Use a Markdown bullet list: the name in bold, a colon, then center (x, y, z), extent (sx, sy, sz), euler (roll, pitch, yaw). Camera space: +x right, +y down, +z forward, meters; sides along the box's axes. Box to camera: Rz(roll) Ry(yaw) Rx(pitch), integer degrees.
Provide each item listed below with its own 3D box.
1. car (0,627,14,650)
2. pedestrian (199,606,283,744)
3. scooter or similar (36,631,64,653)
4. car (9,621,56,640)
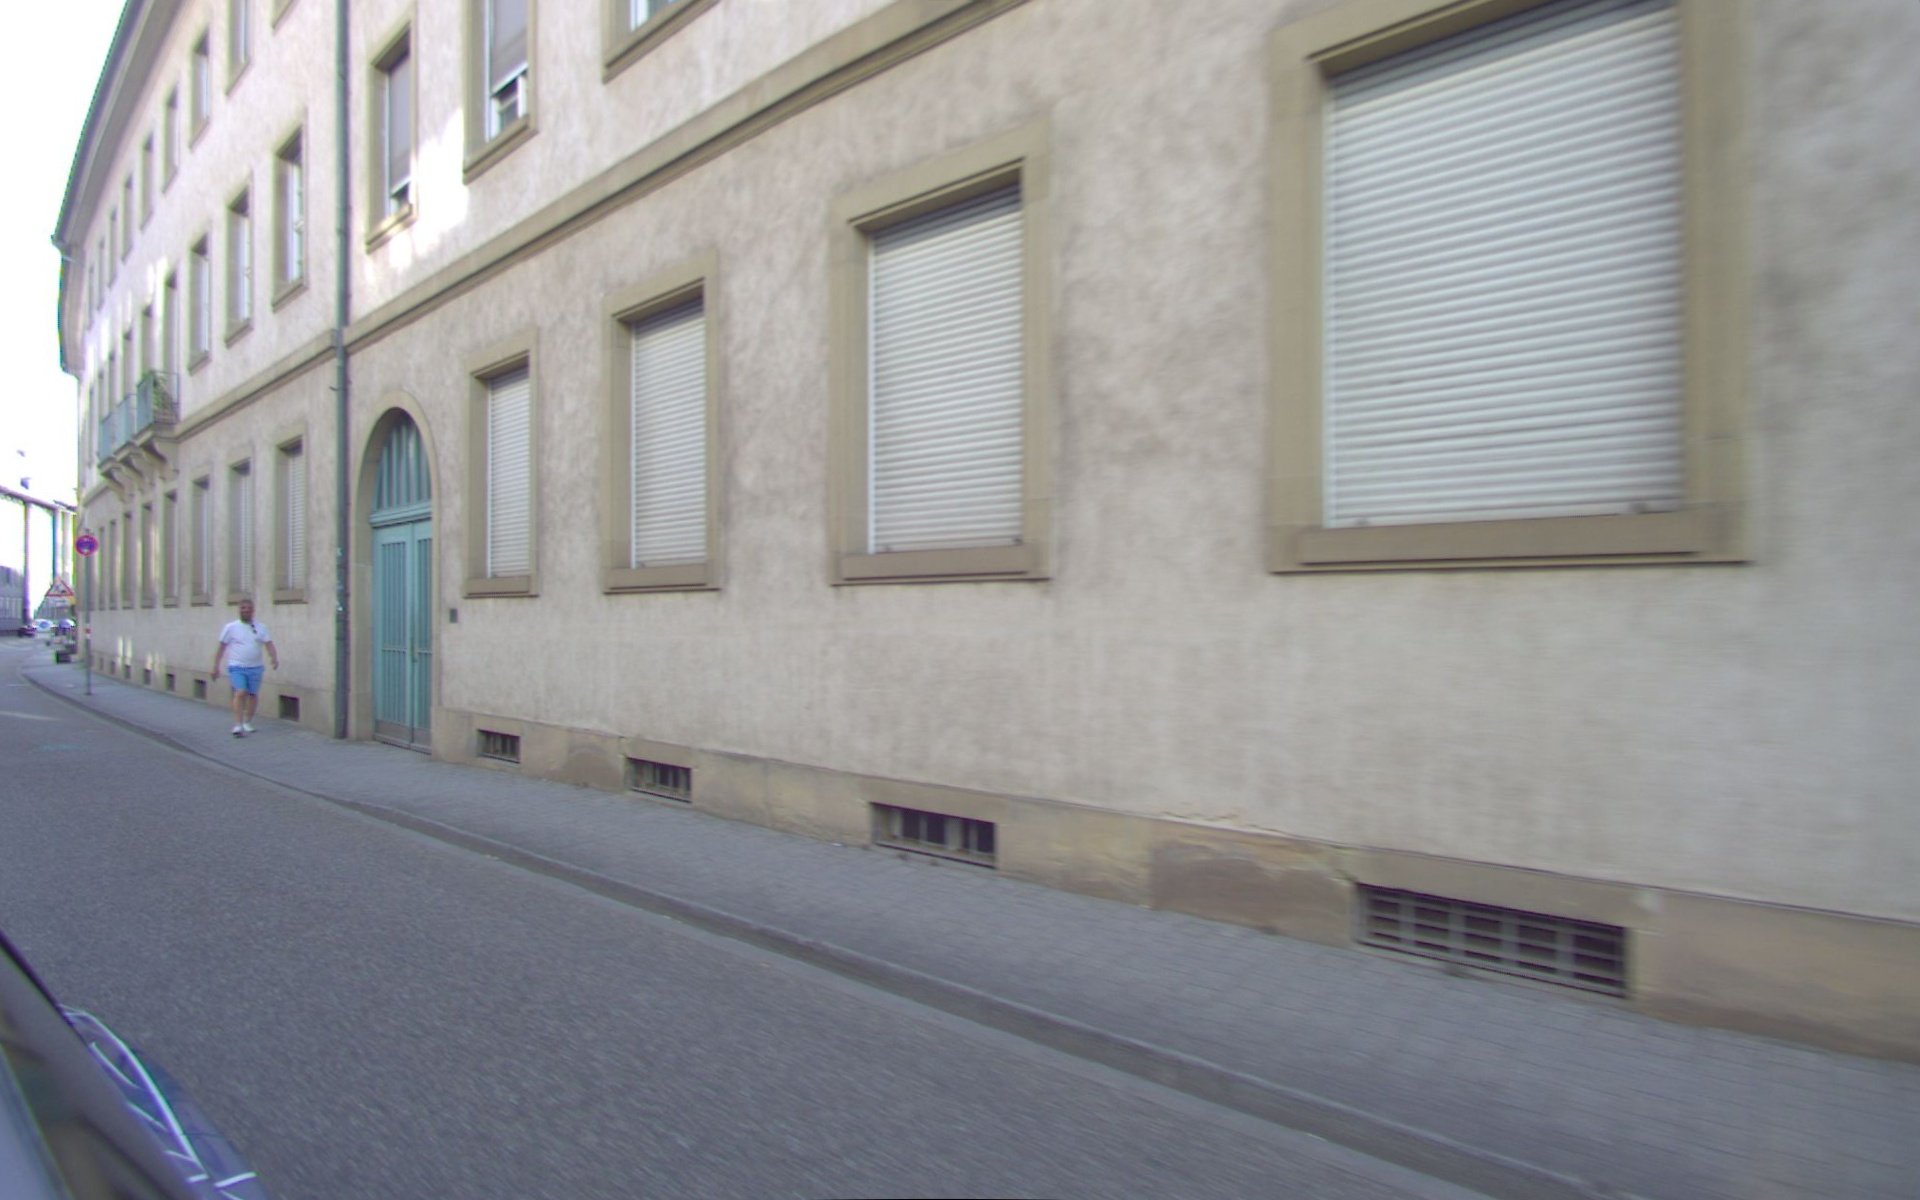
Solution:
- **car**: center (-70.038, 2.858, 73.067), extent (1.747, 1.595, 3.867), euler (-5, 2, -32)
- **pedestrian**: center (-9.267, 0.932, 13.036), extent (0.875, 1.682, 0.685), euler (-1, 1, 43)
- **scooter or similar**: center (-53.466, 2.461, 59.485), extent (0.461, 1.234, 1.300), euler (0, -2, 0)
- **car**: center (-75.276, 2.445, 82.188), extent (1.933, 1.418, 4.209), euler (-2, 0, -31)
